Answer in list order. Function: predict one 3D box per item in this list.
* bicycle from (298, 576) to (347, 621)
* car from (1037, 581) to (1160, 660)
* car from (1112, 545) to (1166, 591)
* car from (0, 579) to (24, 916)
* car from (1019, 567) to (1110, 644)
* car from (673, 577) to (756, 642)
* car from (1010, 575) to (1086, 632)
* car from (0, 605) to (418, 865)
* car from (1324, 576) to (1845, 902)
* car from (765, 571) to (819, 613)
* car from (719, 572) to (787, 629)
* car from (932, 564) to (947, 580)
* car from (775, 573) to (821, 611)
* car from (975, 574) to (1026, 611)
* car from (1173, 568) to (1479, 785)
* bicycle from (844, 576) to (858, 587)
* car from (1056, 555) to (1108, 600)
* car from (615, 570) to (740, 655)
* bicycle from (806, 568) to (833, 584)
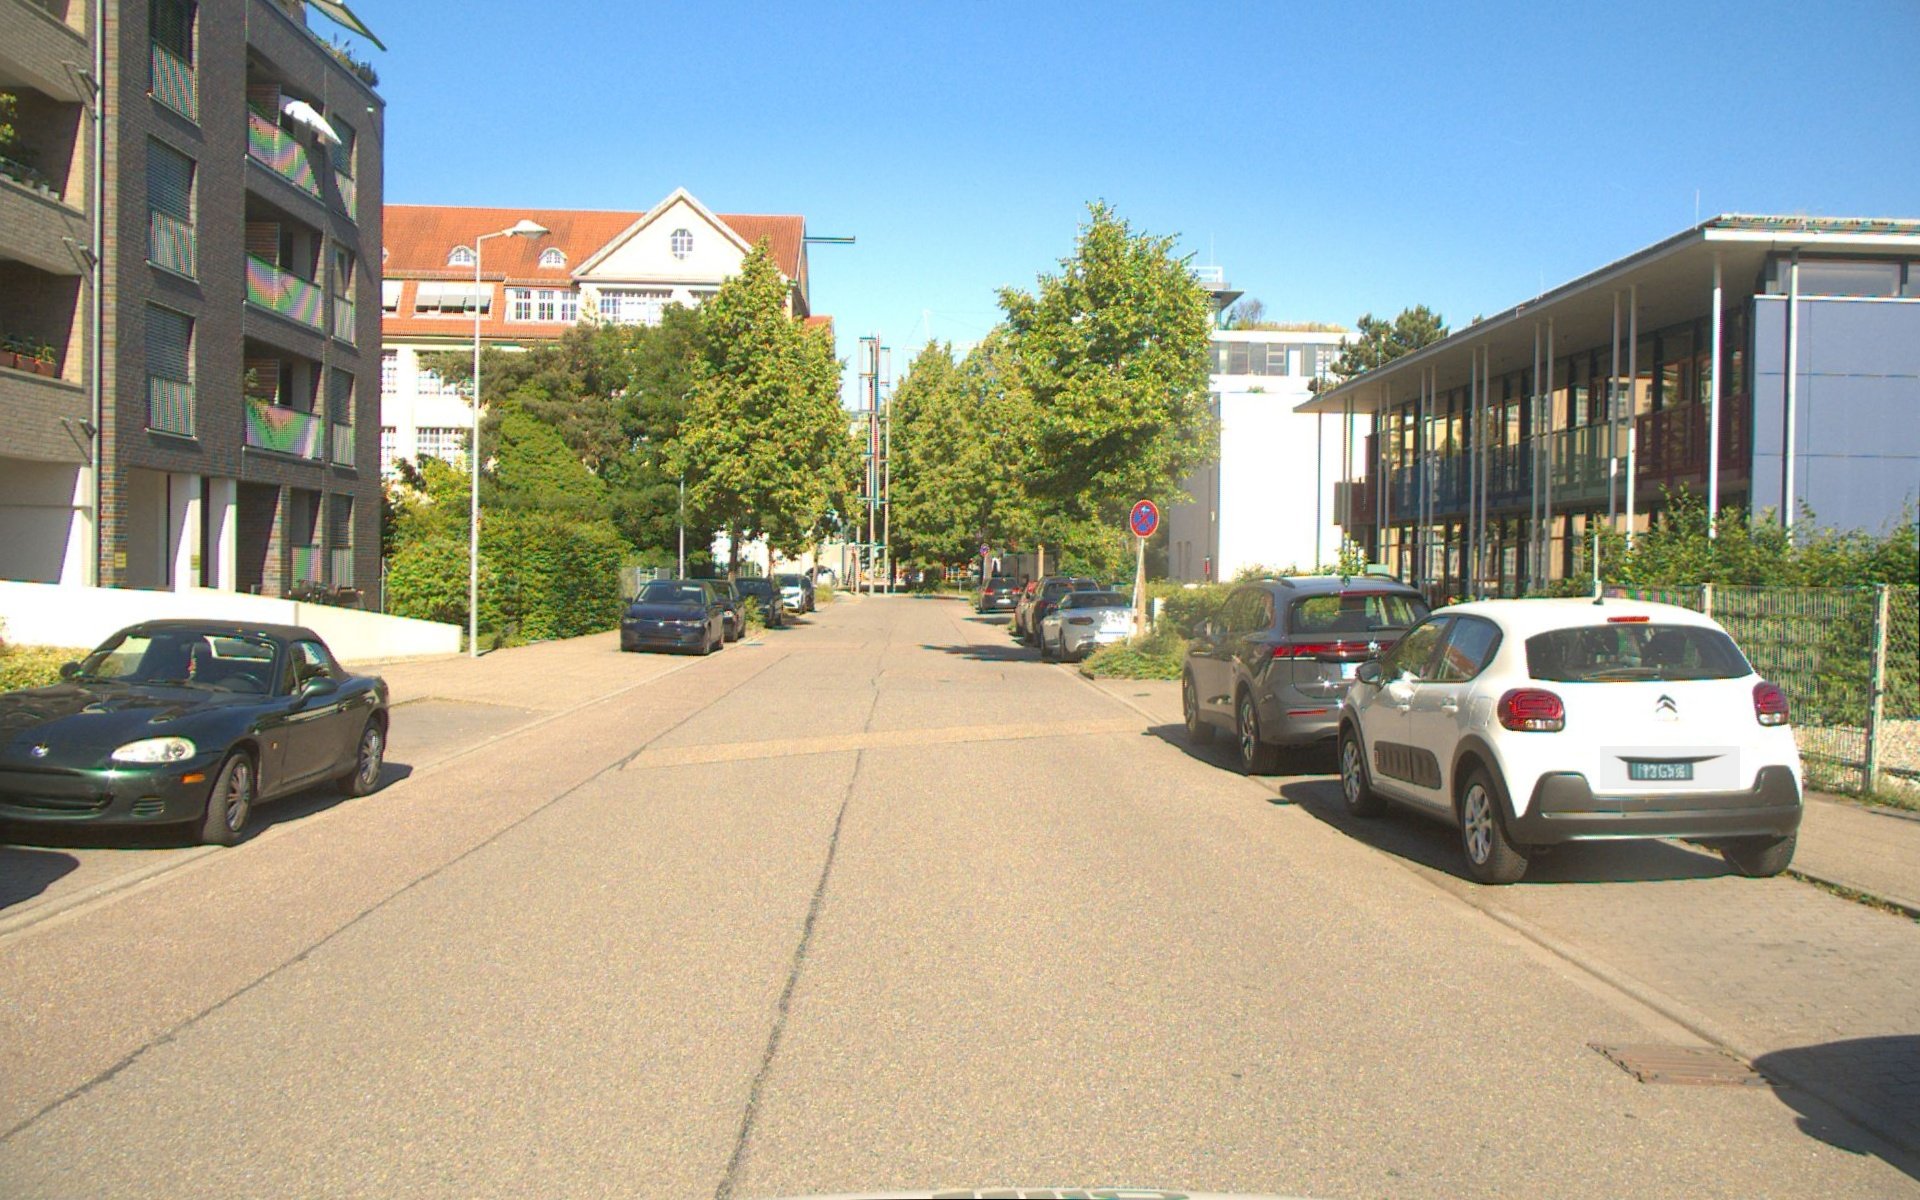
[{"bbox_3d":[-12.844,-0.042,33.357,0.248,0.852,1.775,1,2,1],"label":"bicycle"},{"bbox_3d":[2.753,0.384,33.803,1.794,1.447,4.229,-2,0,-5],"label":"car"},{"bbox_3d":[8.309,-1.475,76.978,1.953,2.049,3.999,0,1,-2],"label":"car"},{"bbox_3d":[-4.941,0.664,5.524,1.579,1.490,3.872,0,1,-3],"label":"car"},{"bbox_3d":[2.537,0.114,40.966,1.784,1.748,4.118,-2,1,-2],"label":"car"},{"bbox_3d":[-6.010,0.210,40.806,1.597,1.527,3.576,1,0,-2],"label":"car"},{"bbox_3d":[2.473,0.085,47.043,1.797,1.542,3.879,1,0,-2],"label":"car"},{"bbox_3d":[-4.917,0.719,10.680,1.566,1.238,3.875,3,1,-1],"label":"car"},{"bbox_3d":[3.566,0.677,10.235,1.646,1.569,3.848,1,2,-2],"label":"car"},{"bbox_3d":[-6.401,-0.310,63.189,1.741,1.556,3.999,0,1,-2],"label":"car"},{"bbox_3d":[-6.249,-0.002,50.211,1.660,1.633,3.941,1,1,-2],"label":"car"},{"bbox_3d":[-2.767,-3.732,220.563,1.953,2.048,4.000,1,2,-1],"label":"car"},{"bbox_3d":[-6.673,-0.349,68.351,1.666,1.496,3.460,0,1,-2],"label":"car"},{"bbox_3d":[1.702,-0.344,70.203,1.953,1.512,3.999,0,1,-2],"label":"car"},{"bbox_3d":[3.203,0.580,15.350,1.691,1.681,4.324,-1,1,-2],"label":"car"},{"bbox_3d":[-7.126,-1.231,107.961,0.370,0.695,1.065,0,2,-38],"label":"bicycle"},{"bbox_3d":[5.635,-1.036,76.933,1.983,2.049,3.999,0,1,-2],"label":"car"},{"bbox_3d":[-5.808,0.233,34.401,1.725,1.554,4.001,3,0,2],"label":"car"},{"bbox_3d":[-7.485,-1.289,88.041,1.439,0.857,0.335,1,1,-6],"label":"bicycle"}]
